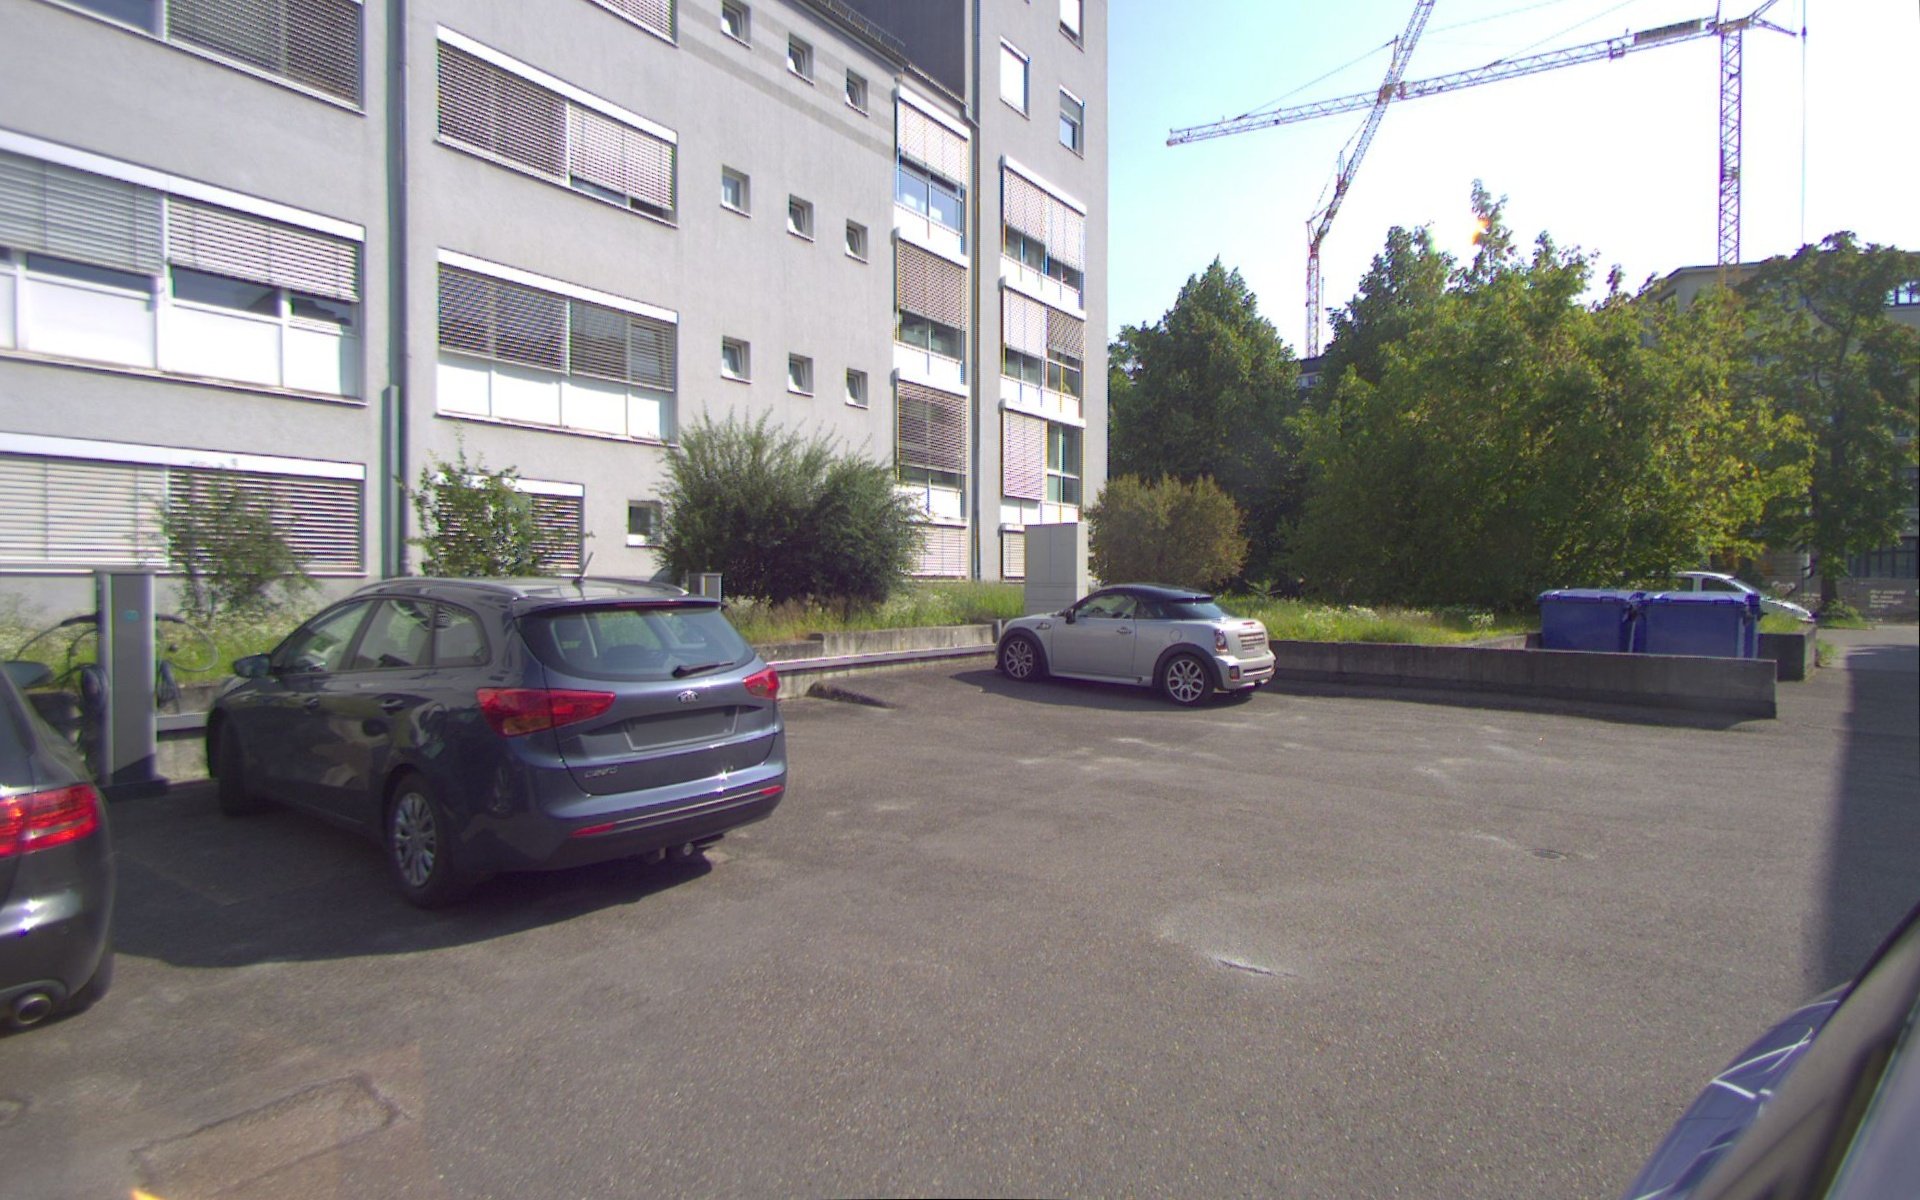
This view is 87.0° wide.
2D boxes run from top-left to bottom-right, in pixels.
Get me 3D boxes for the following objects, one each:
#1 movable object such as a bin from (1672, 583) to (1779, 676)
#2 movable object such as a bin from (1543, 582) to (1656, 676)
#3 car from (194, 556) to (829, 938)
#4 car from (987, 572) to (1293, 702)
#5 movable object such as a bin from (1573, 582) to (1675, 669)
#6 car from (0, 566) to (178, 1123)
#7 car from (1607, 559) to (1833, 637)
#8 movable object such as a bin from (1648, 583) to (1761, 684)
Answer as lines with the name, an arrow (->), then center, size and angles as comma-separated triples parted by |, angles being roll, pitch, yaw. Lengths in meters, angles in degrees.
movable object such as a bin -> 11.771, 0.416, 15.554 | 1.196, 1.344, 1.255 | 0, 1, 43
movable object such as a bin -> 9.736, 0.404, 15.410 | 1.254, 1.344, 1.255 | 0, 1, 44
car -> -2.796, 0.534, 5.898 | 4.039, 1.496, 1.718 | 1, 1, 38
car -> 2.247, 0.374, 13.062 | 3.566, 1.455, 1.635 | 1, 1, 40
movable object such as a bin -> 10.837, 0.387, 16.507 | 1.196, 1.344, 1.255 | 0, 1, 43
car -> -4.386, 0.606, 3.690 | 4.229, 1.455, 1.665 | 1, 1, 41
car -> 20.839, -0.104, 27.905 | 1.878, 1.956, 4.781 | 0, 1, -45
movable object such as a bin -> 10.668, 0.440, 14.498 | 1.209, 1.368, 1.256 | 0, 1, 41
